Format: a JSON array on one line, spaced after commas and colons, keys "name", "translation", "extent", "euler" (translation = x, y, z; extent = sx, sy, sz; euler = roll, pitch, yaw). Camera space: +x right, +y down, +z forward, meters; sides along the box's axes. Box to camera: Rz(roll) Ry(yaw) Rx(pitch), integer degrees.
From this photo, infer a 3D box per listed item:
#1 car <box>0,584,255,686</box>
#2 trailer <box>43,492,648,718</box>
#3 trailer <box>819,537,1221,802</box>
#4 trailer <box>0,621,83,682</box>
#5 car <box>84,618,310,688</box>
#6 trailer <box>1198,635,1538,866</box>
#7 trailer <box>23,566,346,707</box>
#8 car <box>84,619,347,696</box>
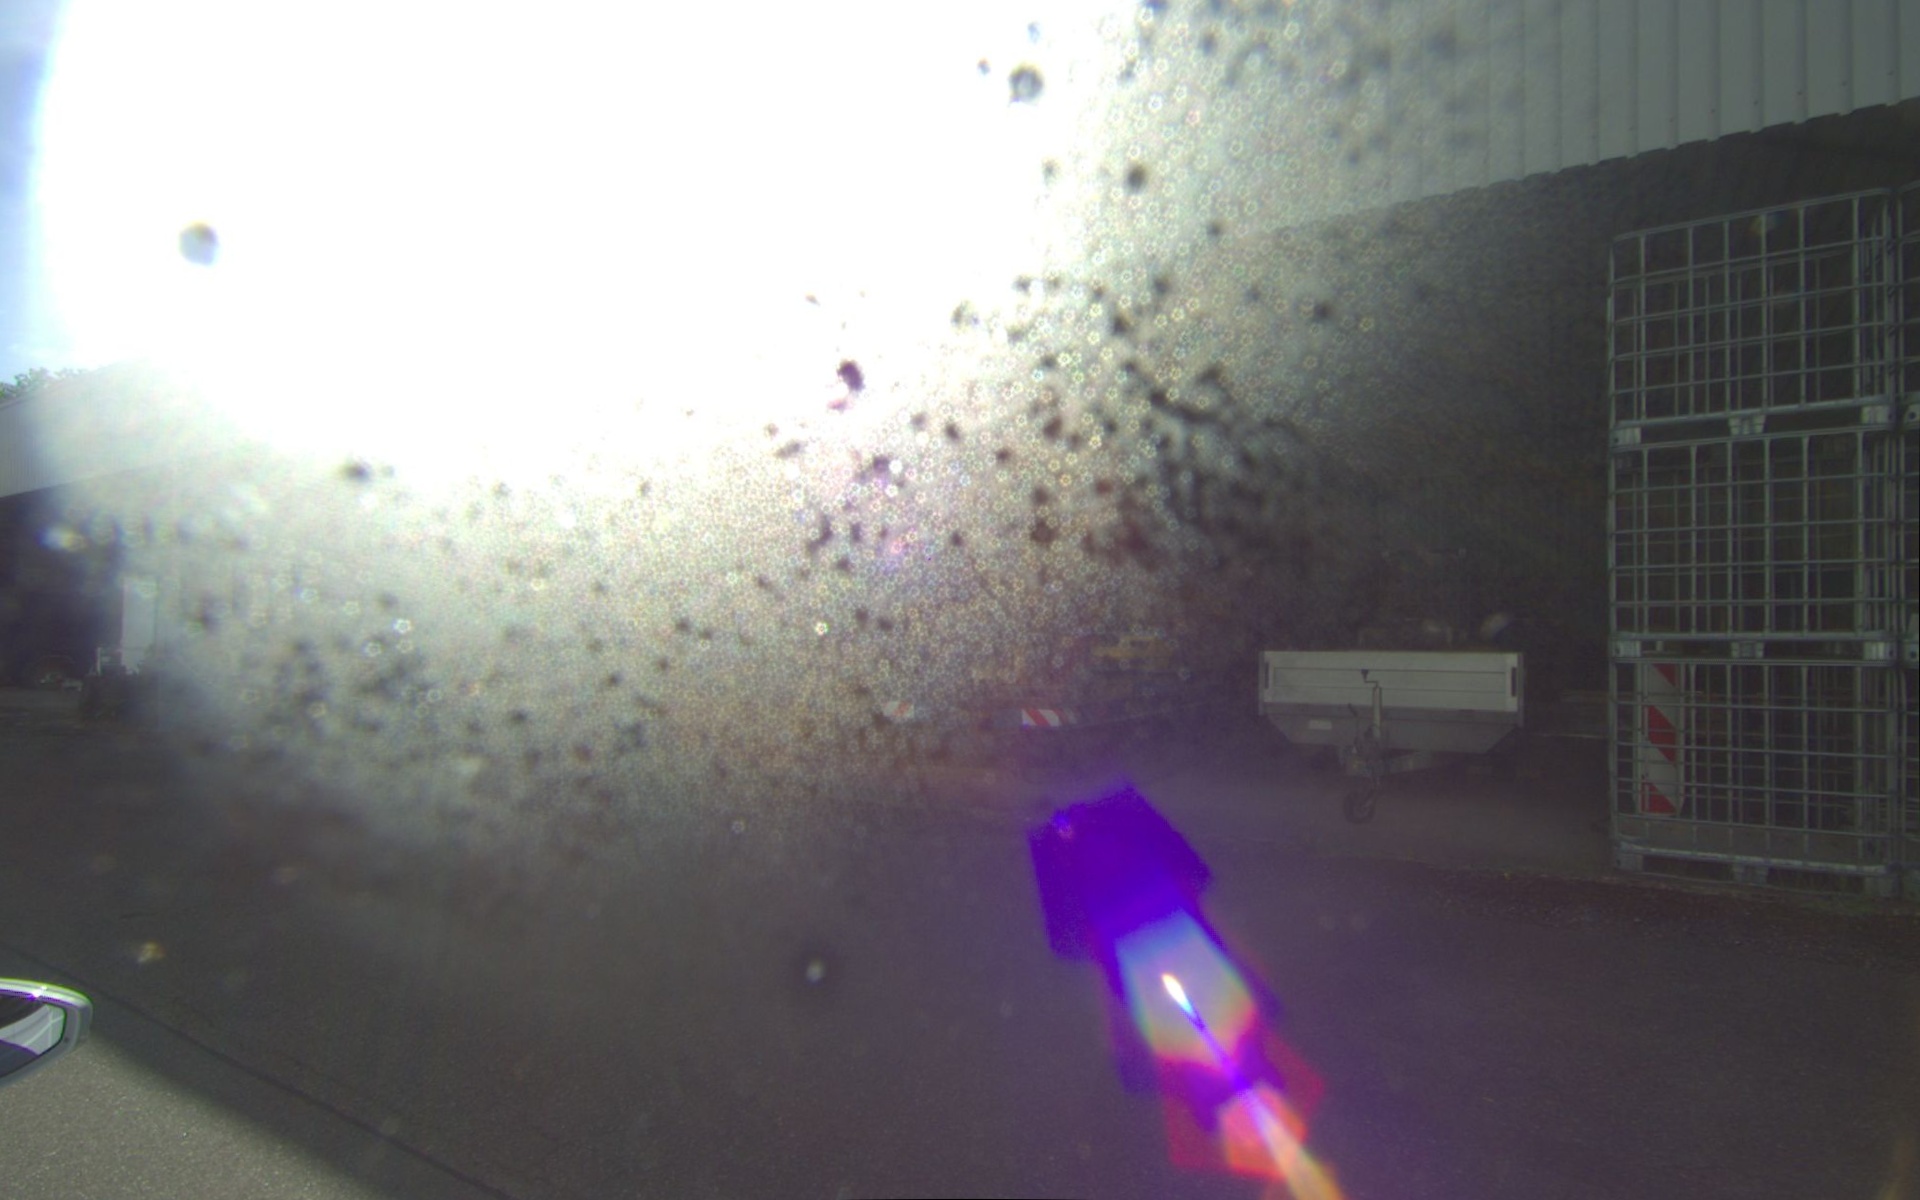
[{"name": "car", "translation": [-21.219, 0.875, 25.196], "extent": [2.121, 2.310, 5.325], "euler": [-1, -2, 31]}, {"name": "trailer", "translation": [-11.266, 0.146, 20.144], "extent": [2.761, 3.386, 10.249], "euler": [0, -1, 32]}, {"name": "trailer", "translation": [0.860, 0.578, 10.062], "extent": [2.133, 2.016, 4.413], "euler": [-1, -1, 33]}, {"name": "trailer", "translation": [-23.986, 1.291, 25.603], "extent": [1.715, 1.485, 2.032], "euler": [-1, -1, 36]}, {"name": "car", "translation": [-18.230, 1.244, 24.122], "extent": [1.812, 1.533, 3.961], "euler": [-1, -2, 28]}, {"name": "trailer", "translation": [3.863, 0.962, 8.663], "extent": [1.945, 1.200, 5.720], "euler": [-1, -1, 30]}, {"name": "trailer", "translation": [-14.690, 0.656, 19.258], "extent": [2.018, 2.372, 4.507], "euler": [-1, -1, 32]}, {"name": "car", "translation": [-16.055, 1.190, 21.852], "extent": [1.841, 1.490, 4.245], "euler": [0, -2, 29]}]
